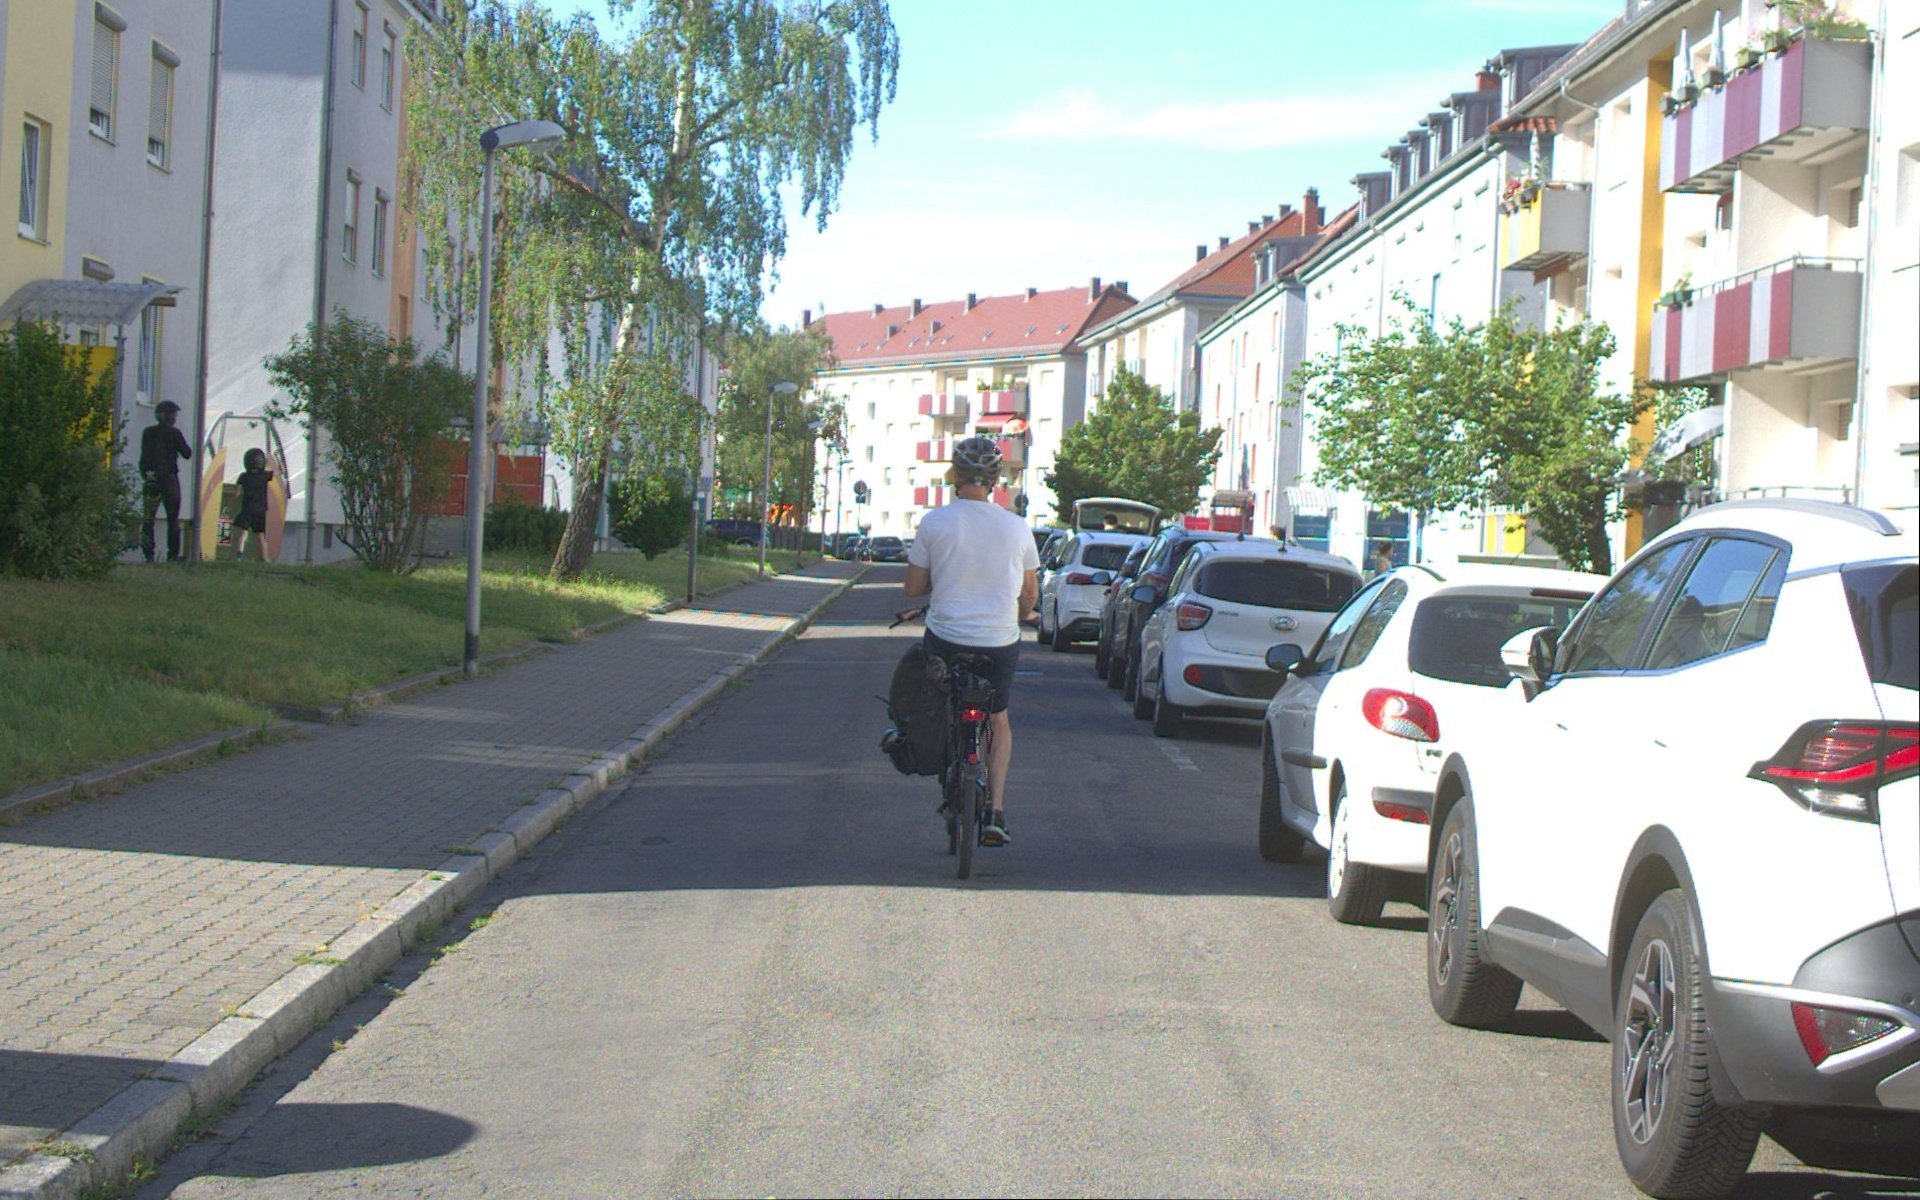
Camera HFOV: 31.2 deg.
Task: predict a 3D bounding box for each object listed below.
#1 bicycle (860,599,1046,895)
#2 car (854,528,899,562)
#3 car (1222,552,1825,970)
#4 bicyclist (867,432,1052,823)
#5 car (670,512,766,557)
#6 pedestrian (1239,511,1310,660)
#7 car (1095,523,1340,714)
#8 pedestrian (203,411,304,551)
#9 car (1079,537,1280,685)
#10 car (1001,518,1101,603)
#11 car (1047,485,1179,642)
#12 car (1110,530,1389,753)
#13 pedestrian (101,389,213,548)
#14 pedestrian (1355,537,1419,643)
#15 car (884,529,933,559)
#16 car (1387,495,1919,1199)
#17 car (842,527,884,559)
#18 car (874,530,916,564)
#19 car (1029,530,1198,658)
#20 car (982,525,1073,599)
[{"bbox_3d":[-0.053,0.590,14.713,0.660,1.123,1.766,4,1,-2],"label":"bicycle"},{"bbox_3d":[-4.153,-2.745,170.303,1.993,1.570,4.001,2,1,-3],"label":"car"},{"bbox_3d":[2.221,0.570,14.498,1.757,1.427,3.629,3,1,-2],"label":"car"},{"bbox_3d":[-0.013,0.110,14.663,0.694,1.591,0.791,3,1,-2],"label":"bicyclist"},{"bbox_3d":[-10.454,-2.838,148.801,3.986,1.795,2.000,2,1,-2],"label":"car"},{"bbox_3d":[4.342,-0.212,47.557,0.791,2.007,1.083,2,1,-1],"label":"pedestrian"},{"bbox_3d":[2.293,0.123,31.563,1.835,1.552,4.000,3,1,-1],"label":"car"},{"bbox_3d":[-7.957,-1.334,38.740,0.863,1.516,1.068,3,1,-1],"label":"pedestrian"},{"bbox_3d":[2.324,0.080,37.281,1.835,1.430,3.752,3,1,-1],"label":"car"},{"bbox_3d":[1.840,-0.831,70.583,1.806,1.599,4.405,3,1,-1],"label":"car"},{"bbox_3d":[2.213,-0.544,50.492,1.619,2.136,4.000,3,1,-1],"label":"car"},{"bbox_3d":[2.170,0.267,26.621,1.631,1.486,3.624,5,1,-2],"label":"car"},{"bbox_3d":[-9.007,-1.465,38.590,0.970,1.709,0.947,3,1,-1],"label":"pedestrian"},{"bbox_3d":[6.904,-0.165,55.564,0.713,1.672,0.792,3,1,29],"label":"pedestrian"},{"bbox_3d":[-2.988,-3.215,197.255,1.993,1.570,4.001,2,1,-13],"label":"car"},{"bbox_3d":[2.458,0.591,8.979,1.983,1.586,4.125,3,1,-2],"label":"car"},{"bbox_3d":[-5.059,-3.001,178.970,1.993,1.570,4.001,2,1,-3],"label":"car"},{"bbox_3d":[-3.117,-2.548,164.849,1.756,1.570,3.904,2,1,-4],"label":"car"},{"bbox_3d":[1.946,-0.110,44.662,1.894,1.491,4.092,3,1,-1],"label":"car"},{"bbox_3d":[1.452,-0.859,75.518,1.806,1.493,4.200,3,1,-1],"label":"car"}]
